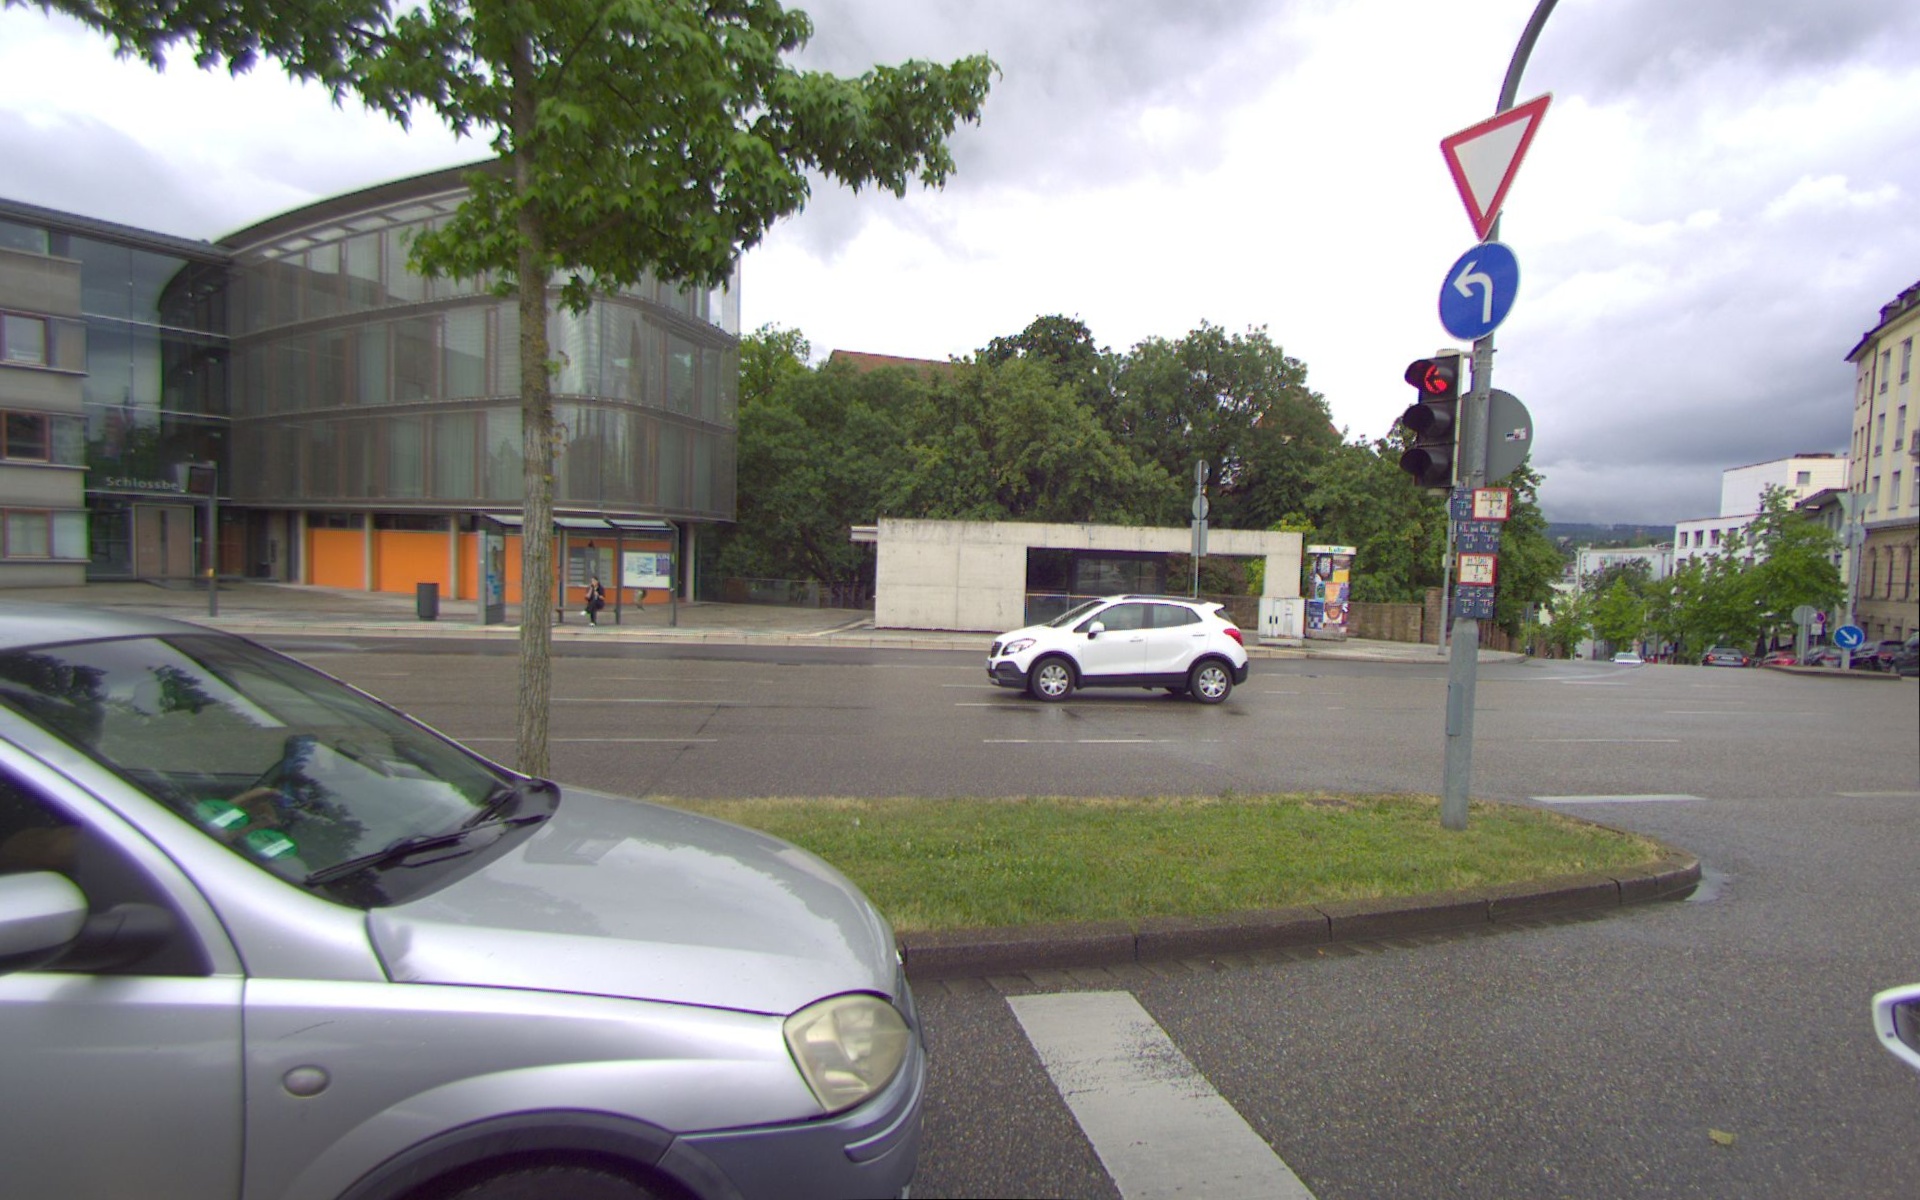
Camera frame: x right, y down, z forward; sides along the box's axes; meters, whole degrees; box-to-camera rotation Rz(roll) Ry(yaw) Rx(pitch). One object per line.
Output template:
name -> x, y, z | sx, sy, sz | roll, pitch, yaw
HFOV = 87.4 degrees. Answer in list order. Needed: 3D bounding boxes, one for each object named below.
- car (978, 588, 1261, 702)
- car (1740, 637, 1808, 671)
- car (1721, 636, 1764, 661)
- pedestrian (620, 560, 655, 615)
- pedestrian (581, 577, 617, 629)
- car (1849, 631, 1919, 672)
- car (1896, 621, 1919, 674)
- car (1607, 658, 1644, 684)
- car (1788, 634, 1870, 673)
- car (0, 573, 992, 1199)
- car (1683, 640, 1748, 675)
car -> 2.485, 0.700, 16.304 | 4.130, 1.639, 1.959 | 2, 0, -7
car -> 41.067, 2.697, 50.777 | 1.737, 1.498, 4.007 | 2, 0, 25
car -> 52.320, 3.205, 67.225 | 1.739, 1.498, 3.992 | 2, 0, 31
pedestrian -> -10.709, -0.433, 33.398 | 0.809, 1.780, 0.786 | 2, 2, 13
pedestrian -> -9.283, 0.074, 25.851 | 0.706, 1.316, 0.668 | 2, 0, -5
car -> 36.988, 2.030, 39.940 | 1.606, 1.417, 3.992 | 2, 1, 30
car -> 33.758, 1.662, 34.356 | 1.606, 1.783, 3.992 | 2, 1, 30
car -> 43.433, 4.592, 65.608 | 1.605, 1.417, 3.993 | 2, 0, 29
car -> 38.827, 2.354, 44.987 | 1.737, 1.498, 3.997 | 2, 0, 25
car -> -1.923, 0.689, 2.009 | 3.655, 1.485, 1.696 | 2, 0, -12
car -> 36.839, 2.766, 49.100 | 1.668, 1.485, 4.447 | 2, 0, 26
